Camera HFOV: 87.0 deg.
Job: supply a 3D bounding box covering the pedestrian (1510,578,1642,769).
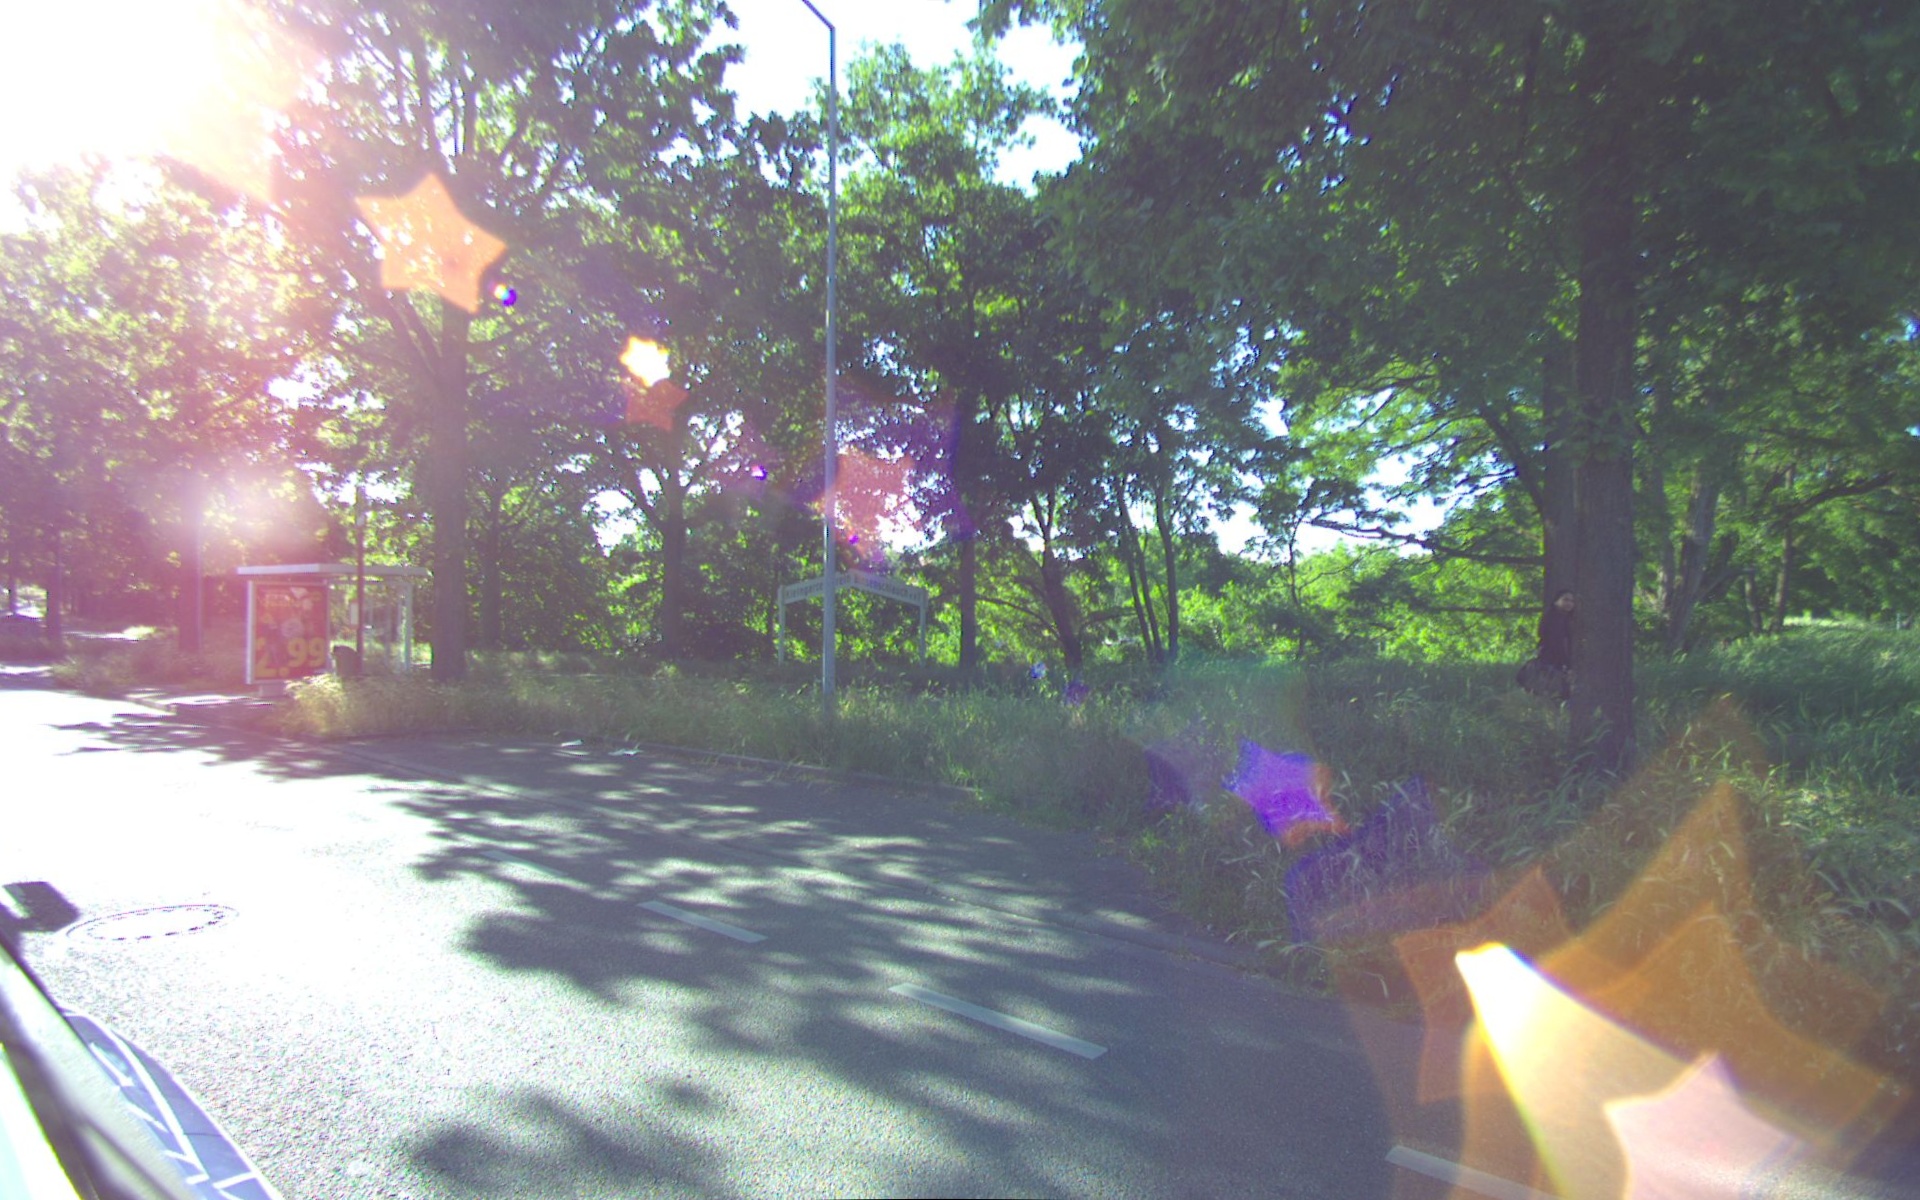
[{"bbox_3d":[5.865,0.659,9.638,0.891,1.701,0.903,-2,-1,42],"label":"pedestrian"}]
